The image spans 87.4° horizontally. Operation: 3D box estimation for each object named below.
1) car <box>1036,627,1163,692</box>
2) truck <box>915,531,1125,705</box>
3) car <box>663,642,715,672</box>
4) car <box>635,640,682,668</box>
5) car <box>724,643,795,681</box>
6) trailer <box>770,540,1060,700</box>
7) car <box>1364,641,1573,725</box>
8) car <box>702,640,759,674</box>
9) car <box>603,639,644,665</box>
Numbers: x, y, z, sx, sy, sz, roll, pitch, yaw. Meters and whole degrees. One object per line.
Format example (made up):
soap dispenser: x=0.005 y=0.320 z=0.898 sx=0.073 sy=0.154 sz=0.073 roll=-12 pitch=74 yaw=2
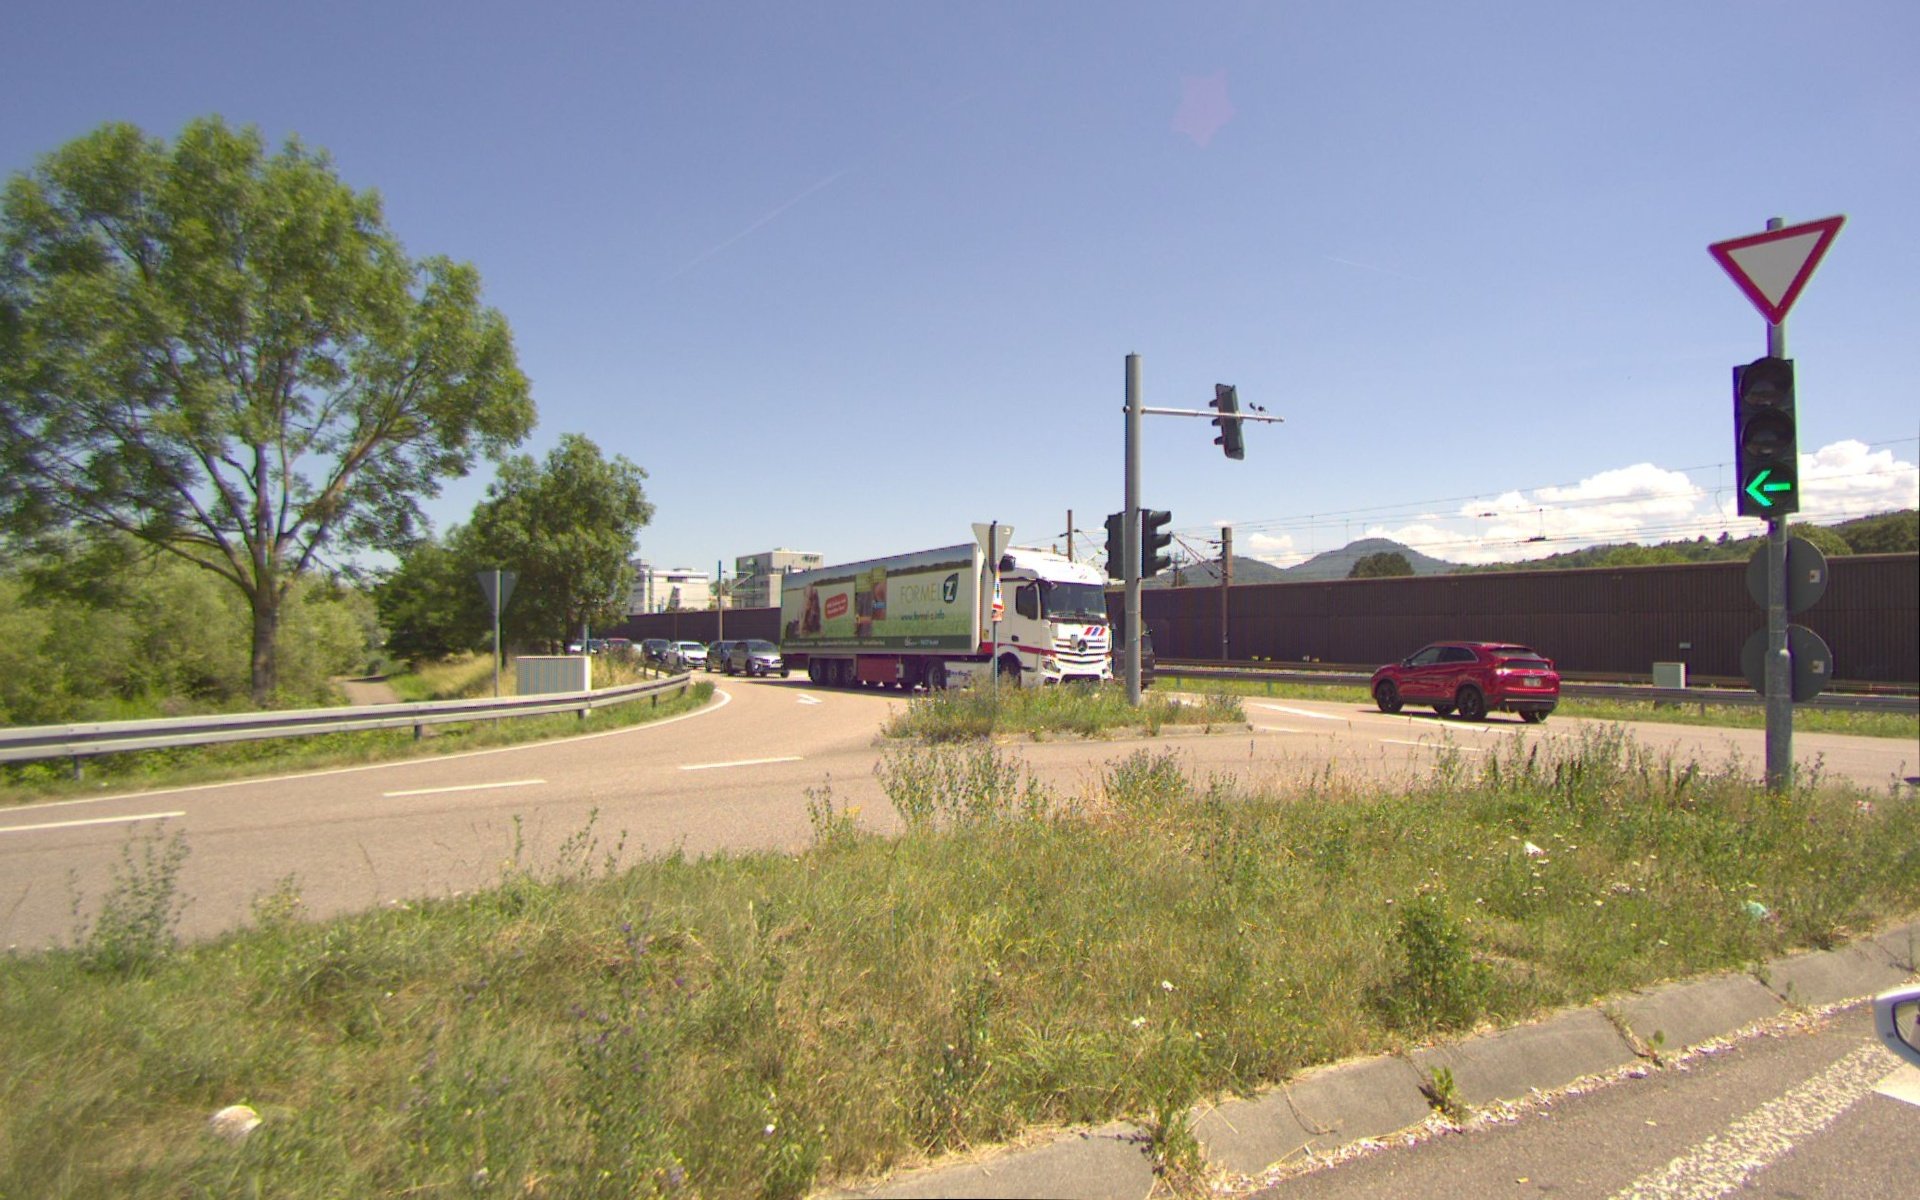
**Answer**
car: x=4.660 y=1.989 z=34.317 sx=1.988 sy=2.048 sz=4.752 roll=2 pitch=-3 yaw=-26
truck: x=1.418 y=0.580 z=26.734 sx=2.669 sy=4.097 sz=5.774 roll=3 pitch=-4 yaw=-32
car: x=-14.937 y=3.112 z=55.235 sx=1.639 sy=1.498 sz=4.593 roll=3 pitch=-3 yaw=-30
car: x=-18.339 y=3.277 z=61.004 sx=1.702 sy=1.610 sz=4.498 roll=3 pitch=-3 yaw=-30
car: x=-8.774 y=2.668 z=43.713 sx=1.699 sy=1.582 sz=4.119 roll=2 pitch=-3 yaw=-32
trailer: x=-2.183 y=0.824 z=32.420 sx=2.669 sy=4.097 sz=14.001 roll=3 pitch=-4 yaw=-32
car: x=11.104 y=1.781 z=22.288 sx=1.880 sy=1.671 sz=4.130 roll=2 pitch=-3 yaw=-15
car: x=-11.346 y=2.770 z=49.473 sx=1.610 sy=1.558 sz=4.350 roll=1 pitch=-2 yaw=-29
car: x=-22.710 y=3.482 z=67.623 sx=1.741 sy=1.653 sz=4.244 roll=3 pitch=-3 yaw=-31
